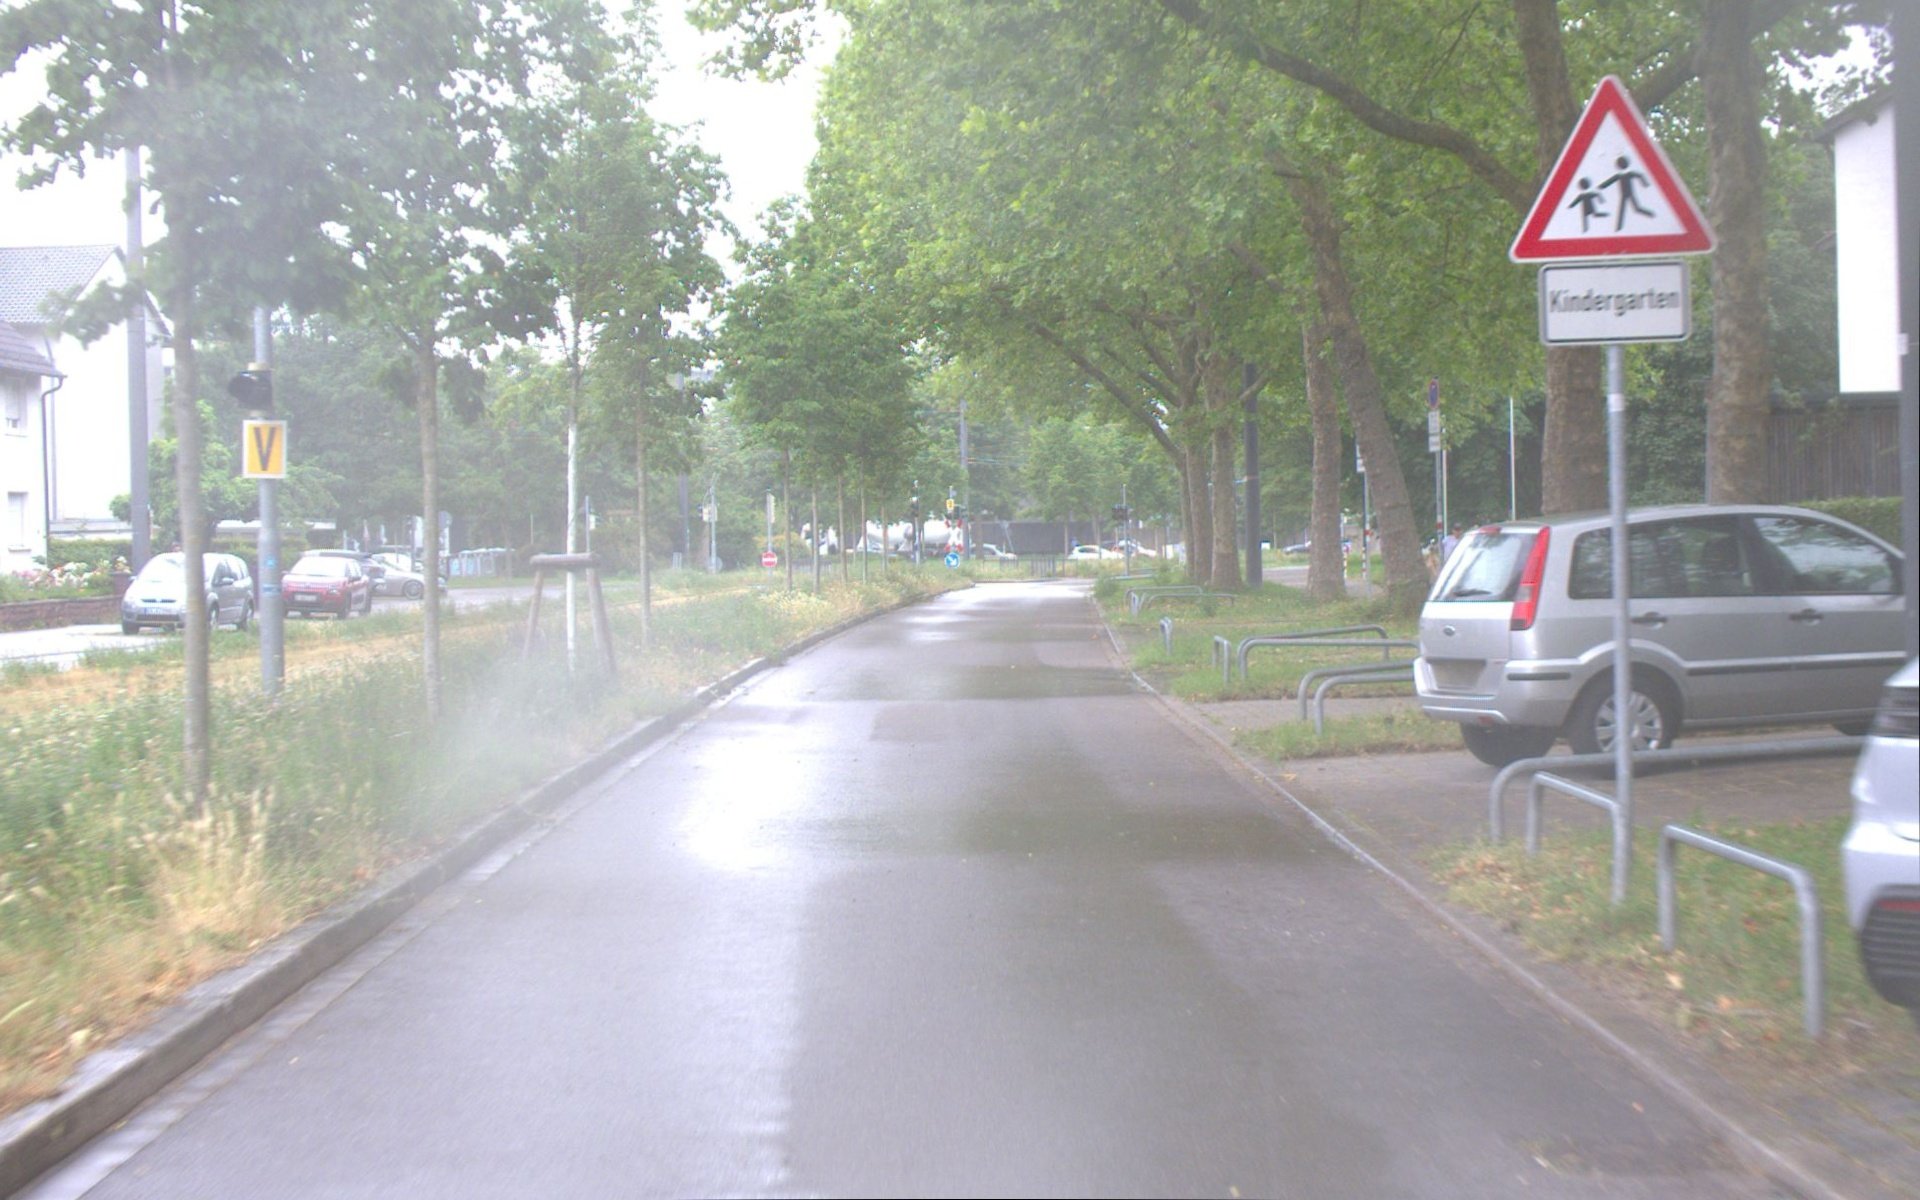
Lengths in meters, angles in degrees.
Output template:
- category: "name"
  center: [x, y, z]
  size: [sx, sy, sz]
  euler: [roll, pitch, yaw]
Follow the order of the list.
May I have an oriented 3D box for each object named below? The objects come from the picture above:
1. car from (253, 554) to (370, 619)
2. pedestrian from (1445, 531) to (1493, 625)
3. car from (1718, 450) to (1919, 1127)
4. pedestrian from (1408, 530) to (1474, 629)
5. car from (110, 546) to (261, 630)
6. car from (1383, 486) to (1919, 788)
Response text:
- category: "car"
  center: [-15.783, -0.345, 83.880]
  size: [1.993, 1.483, 4.205]
  euler: [1, 1, 1]
- category: "pedestrian"
  center: [8.496, -0.375, 57.387]
  size: [0.556, 1.533, 0.967]
  euler: [-2, 1, -4]
- category: "car"
  center: [4.485, 0.368, 9.523]
  size: [4.761, 1.662, 1.994]
  euler: [-3, 2, -37]
- category: "pedestrian"
  center: [7.690, -0.333, 54.948]
  size: [0.833, 1.533, 0.860]
  euler: [-2, 1, -4]
- category: "car"
  center: [-15.732, -0.273, 70.019]
  size: [1.993, 1.575, 4.517]
  euler: [1, 1, 1]
- category: "car"
  center: [4.653, 0.162, 20.460]
  size: [3.854, 1.561, 1.620]
  euler: [-3, 1, -14]
